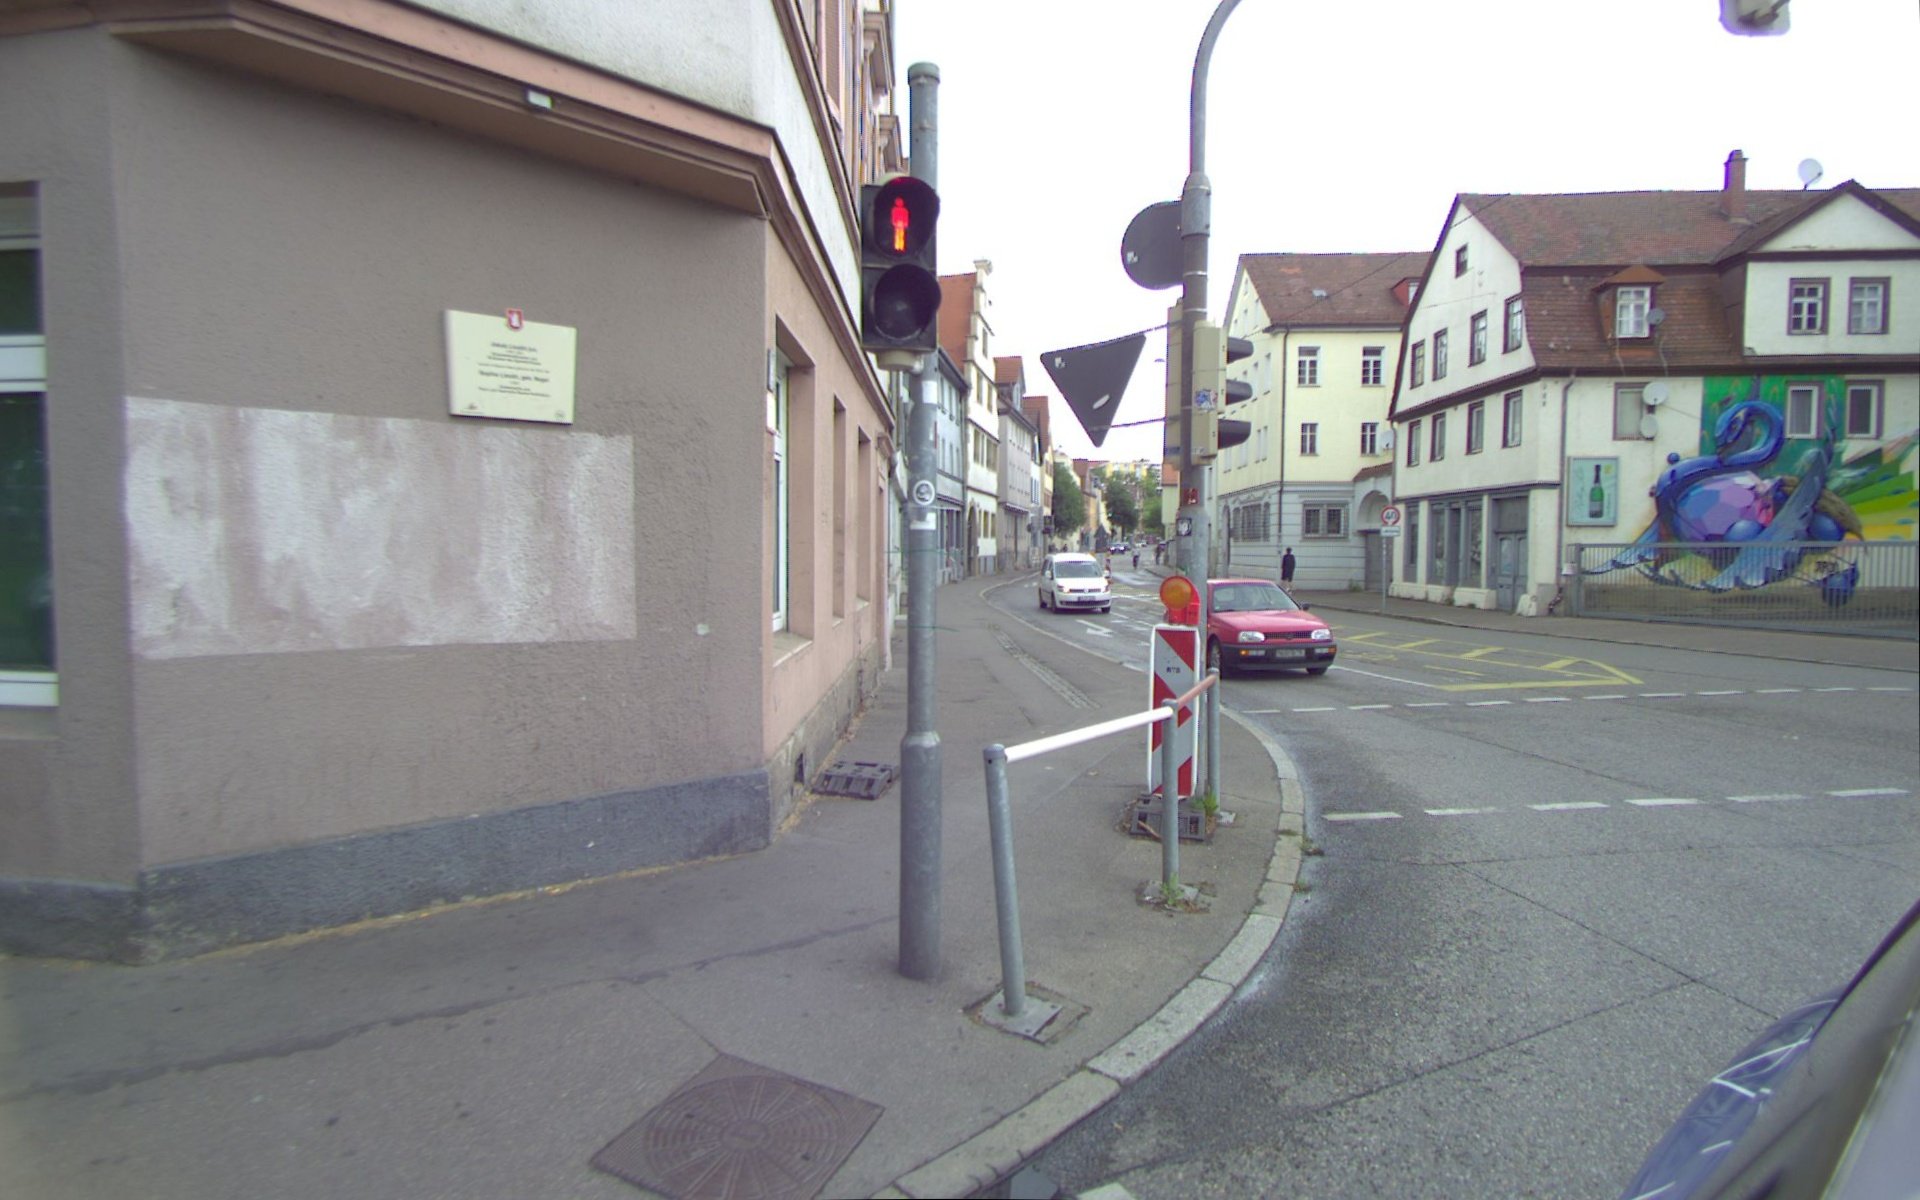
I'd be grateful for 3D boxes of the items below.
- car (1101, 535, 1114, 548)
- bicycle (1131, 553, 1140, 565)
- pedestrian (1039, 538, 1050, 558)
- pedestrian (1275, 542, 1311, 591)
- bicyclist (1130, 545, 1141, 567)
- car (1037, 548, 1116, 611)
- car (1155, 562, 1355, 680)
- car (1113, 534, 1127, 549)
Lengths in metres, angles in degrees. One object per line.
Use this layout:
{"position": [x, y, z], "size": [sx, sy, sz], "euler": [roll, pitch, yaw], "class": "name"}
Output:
{"position": [23.428, -9.362, 161.063], "size": [1.967, 2.038, 3.991], "euler": [0, 3, 9], "class": "car"}
{"position": [13.400, -3.100, 77.200], "size": [0.535, 0.903, 1.873], "euler": [1, 3, 14], "class": "bicycle"}
{"position": [8.534, -5.242, 102.198], "size": [0.860, 1.923, 0.899], "euler": [0, 1, -11], "class": "pedestrian"}
{"position": [13.258, -1.332, 40.290], "size": [1.038, 1.909, 1.091], "euler": [-1, 1, 1], "class": "pedestrian"}
{"position": [13.390, -3.367, 77.248], "size": [0.715, 1.721, 0.807], "euler": [1, 2, 15], "class": "bicyclist"}
{"position": [3.546, -0.701, 31.659], "size": [1.770, 1.813, 4.353], "euler": [0, 3, -3], "class": "car"}
{"position": [4.443, 0.217, 15.919], "size": [1.770, 1.484, 4.004], "euler": [-3, 3, -2], "class": "car"}
{"position": [22.757, -8.313, 144.190], "size": [1.967, 2.038, 3.991], "euler": [1, 3, 9], "class": "car"}
